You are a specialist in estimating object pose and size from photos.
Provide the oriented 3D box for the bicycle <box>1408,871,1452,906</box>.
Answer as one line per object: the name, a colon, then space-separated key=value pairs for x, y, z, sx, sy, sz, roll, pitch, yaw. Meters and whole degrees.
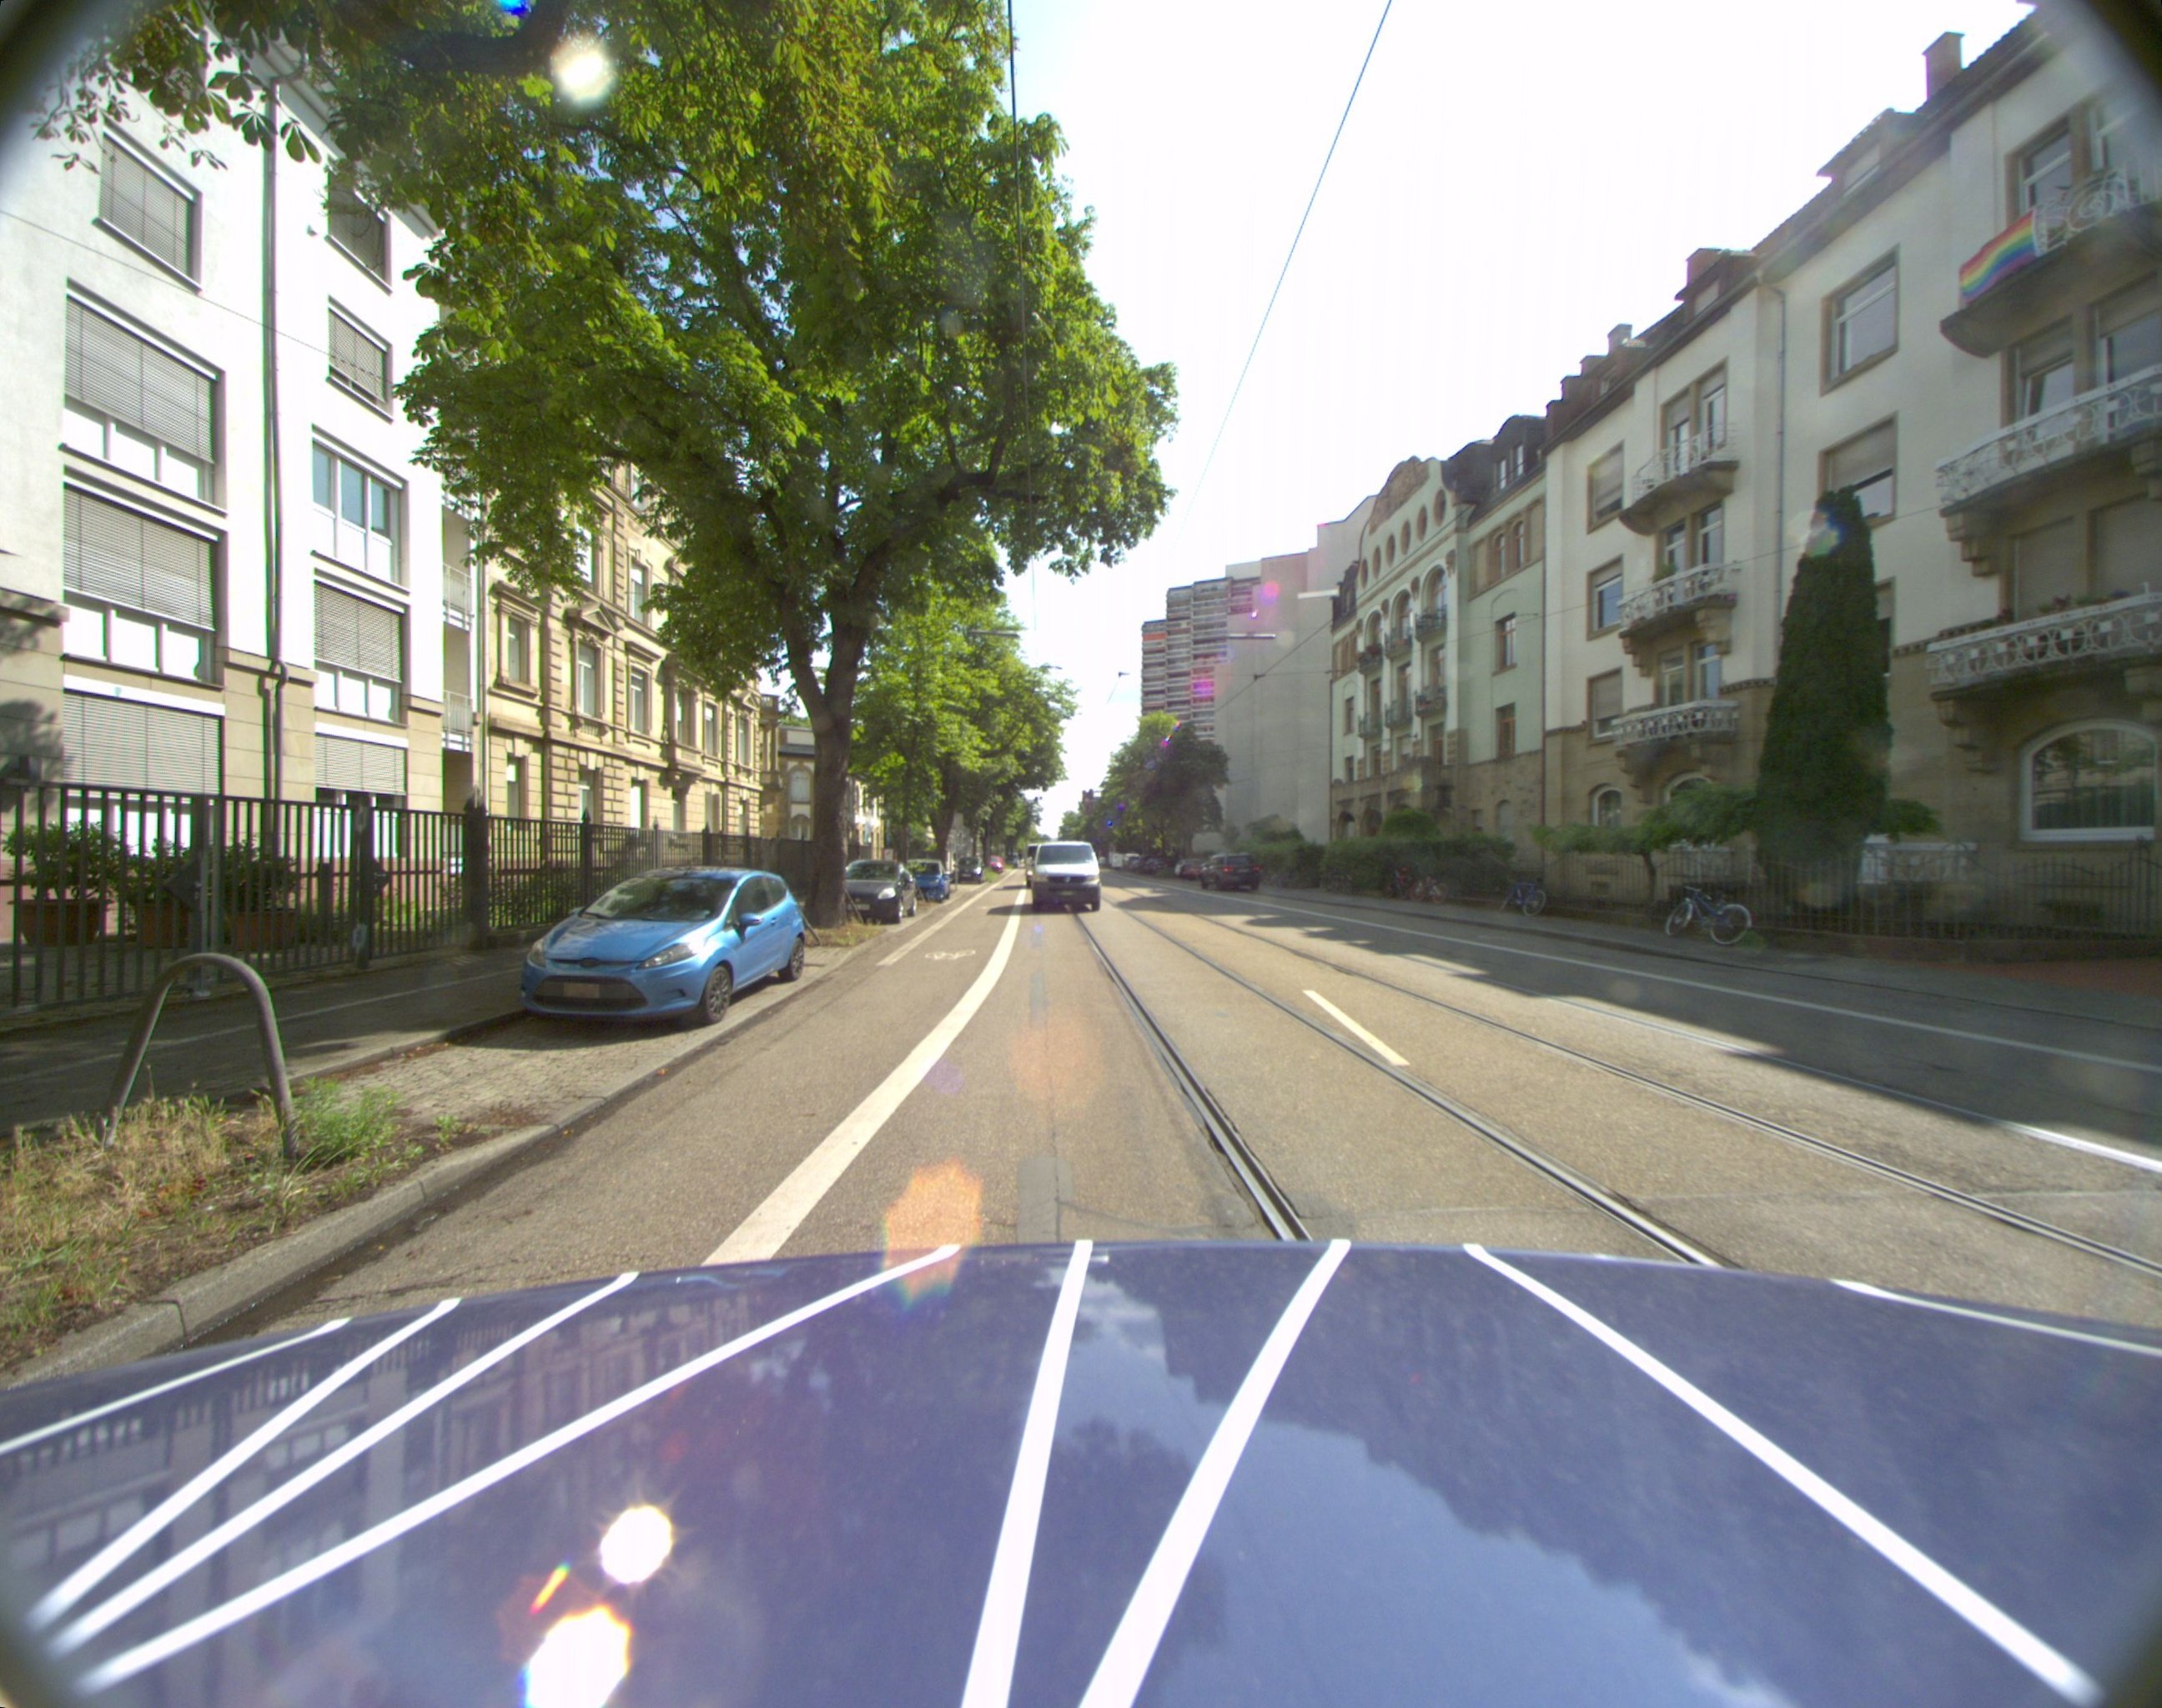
bicycle: x=10.538 y=1.023 z=22.978 sx=0.468 sy=0.990 sz=1.786 roll=0 pitch=0 yaw=-1

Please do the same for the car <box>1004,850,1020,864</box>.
car: x=-8.398 y=0.340 z=92.928 sx=1.744 sy=1.564 sz=3.928 roll=3 pitch=0 yaw=-4

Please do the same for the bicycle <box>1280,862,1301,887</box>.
bicycle: x=9.953 y=0.978 z=36.070 sx=0.468 sy=1.128 sz=1.786 roll=0 pitch=0 yaw=-1

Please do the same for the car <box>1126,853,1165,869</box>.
car: x=6.925 y=0.778 z=81.098 sx=3.994 sy=1.672 sz=2.001 roll=0 pitch=0 yaw=7

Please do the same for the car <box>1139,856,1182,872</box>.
car: x=7.481 y=0.907 z=71.258 sx=3.994 sy=1.499 sz=2.001 roll=0 pitch=0 yaw=7

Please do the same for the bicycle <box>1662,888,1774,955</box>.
bicycle: x=11.037 y=1.126 z=13.253 sx=0.467 sy=0.990 sz=1.979 roll=0 pitch=0 yaw=6

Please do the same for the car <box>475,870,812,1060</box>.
car: x=-4.352 y=0.988 z=8.272 sx=1.647 sy=1.467 sz=3.660 roll=3 pitch=0 yaw=-3

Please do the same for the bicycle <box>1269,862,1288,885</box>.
bicycle: x=9.859 y=0.954 z=38.012 sx=0.468 sy=1.128 sz=1.786 roll=0 pitch=0 yaw=-1

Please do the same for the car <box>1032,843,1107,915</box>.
car: x=-0.409 y=0.647 z=22.456 sx=1.974 sy=1.901 sz=4.816 roll=0 pitch=0 yaw=-2

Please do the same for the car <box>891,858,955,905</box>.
car: x=-5.466 y=0.910 z=26.665 sx=1.679 sy=1.467 sz=3.659 roll=3 pitch=0 yaw=-4

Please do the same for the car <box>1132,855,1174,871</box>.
car: x=7.056 y=0.873 z=74.465 sx=3.994 sy=1.499 sz=2.001 roll=0 pitch=0 yaw=7

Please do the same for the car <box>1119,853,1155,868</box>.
car: x=6.315 y=0.750 z=85.519 sx=3.994 sy=1.672 sz=2.001 roll=0 pitch=0 yaw=7

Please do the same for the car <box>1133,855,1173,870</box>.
car: x=7.364 y=0.867 z=77.627 sx=3.994 sy=1.499 sz=2.001 roll=0 pitch=0 yaw=7

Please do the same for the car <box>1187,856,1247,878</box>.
car: x=9.240 y=0.869 z=51.890 sx=3.994 sy=1.499 sz=2.001 roll=0 pitch=0 yaw=7

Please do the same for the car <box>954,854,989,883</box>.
car: x=-6.491 y=0.846 z=45.312 sx=1.744 sy=1.564 sz=3.659 roll=3 pitch=0 yaw=-4

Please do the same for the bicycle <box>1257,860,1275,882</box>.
bicycle: x=9.745 y=0.905 z=40.108 sx=0.468 sy=1.128 sz=1.786 roll=0 pitch=0 yaw=-1

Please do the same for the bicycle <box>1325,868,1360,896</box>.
bicycle: x=9.950 y=1.037 z=28.960 sx=0.605 sy=0.990 sz=1.980 roll=0 pitch=0 yaw=-1

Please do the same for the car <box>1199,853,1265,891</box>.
car: x=7.052 y=0.780 z=35.912 sx=1.922 sy=1.685 sz=4.399 roll=0 pitch=0 yaw=-5

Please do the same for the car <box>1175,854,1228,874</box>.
car: x=9.297 y=0.783 z=58.947 sx=3.994 sy=1.499 sz=2.001 roll=0 pitch=0 yaw=7

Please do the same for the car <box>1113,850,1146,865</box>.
car: x=5.860 y=0.398 z=91.350 sx=1.994 sy=1.740 sz=4.008 roll=-1 pitch=1 yaw=40

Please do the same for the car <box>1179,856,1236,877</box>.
car: x=9.184 y=0.872 z=55.398 sx=3.994 sy=1.499 sz=2.001 roll=0 pitch=0 yaw=7

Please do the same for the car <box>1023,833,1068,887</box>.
car: x=-1.784 y=0.283 z=38.831 sx=2.147 sy=2.568 sz=4.816 roll=0 pitch=0 yaw=-2

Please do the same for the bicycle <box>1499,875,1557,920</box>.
bicycle: x=10.857 y=1.043 z=18.496 sx=0.467 sy=0.990 sz=1.787 roll=0 pitch=0 yaw=4

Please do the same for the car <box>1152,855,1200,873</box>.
car: x=8.116 y=0.869 z=64.987 sx=3.994 sy=1.499 sz=2.001 roll=0 pitch=0 yaw=7

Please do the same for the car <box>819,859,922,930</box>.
car: x=-5.011 y=0.907 z=18.531 sx=1.679 sy=1.467 sz=3.659 roll=3 pitch=0 yaw=-4

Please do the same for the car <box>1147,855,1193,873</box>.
car: x=7.999 y=0.876 z=68.142 sx=3.994 sy=1.499 sz=2.001 roll=0 pitch=0 yaw=7

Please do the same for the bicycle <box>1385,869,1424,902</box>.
bicycle: x=10.564 y=1.013 z=24.877 sx=0.468 sy=0.990 sz=1.786 roll=0 pitch=0 yaw=-1

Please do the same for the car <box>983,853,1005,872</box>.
car: x=-7.763 y=0.751 z=68.164 sx=1.744 sy=1.564 sz=3.928 roll=3 pitch=0 yaw=-4
